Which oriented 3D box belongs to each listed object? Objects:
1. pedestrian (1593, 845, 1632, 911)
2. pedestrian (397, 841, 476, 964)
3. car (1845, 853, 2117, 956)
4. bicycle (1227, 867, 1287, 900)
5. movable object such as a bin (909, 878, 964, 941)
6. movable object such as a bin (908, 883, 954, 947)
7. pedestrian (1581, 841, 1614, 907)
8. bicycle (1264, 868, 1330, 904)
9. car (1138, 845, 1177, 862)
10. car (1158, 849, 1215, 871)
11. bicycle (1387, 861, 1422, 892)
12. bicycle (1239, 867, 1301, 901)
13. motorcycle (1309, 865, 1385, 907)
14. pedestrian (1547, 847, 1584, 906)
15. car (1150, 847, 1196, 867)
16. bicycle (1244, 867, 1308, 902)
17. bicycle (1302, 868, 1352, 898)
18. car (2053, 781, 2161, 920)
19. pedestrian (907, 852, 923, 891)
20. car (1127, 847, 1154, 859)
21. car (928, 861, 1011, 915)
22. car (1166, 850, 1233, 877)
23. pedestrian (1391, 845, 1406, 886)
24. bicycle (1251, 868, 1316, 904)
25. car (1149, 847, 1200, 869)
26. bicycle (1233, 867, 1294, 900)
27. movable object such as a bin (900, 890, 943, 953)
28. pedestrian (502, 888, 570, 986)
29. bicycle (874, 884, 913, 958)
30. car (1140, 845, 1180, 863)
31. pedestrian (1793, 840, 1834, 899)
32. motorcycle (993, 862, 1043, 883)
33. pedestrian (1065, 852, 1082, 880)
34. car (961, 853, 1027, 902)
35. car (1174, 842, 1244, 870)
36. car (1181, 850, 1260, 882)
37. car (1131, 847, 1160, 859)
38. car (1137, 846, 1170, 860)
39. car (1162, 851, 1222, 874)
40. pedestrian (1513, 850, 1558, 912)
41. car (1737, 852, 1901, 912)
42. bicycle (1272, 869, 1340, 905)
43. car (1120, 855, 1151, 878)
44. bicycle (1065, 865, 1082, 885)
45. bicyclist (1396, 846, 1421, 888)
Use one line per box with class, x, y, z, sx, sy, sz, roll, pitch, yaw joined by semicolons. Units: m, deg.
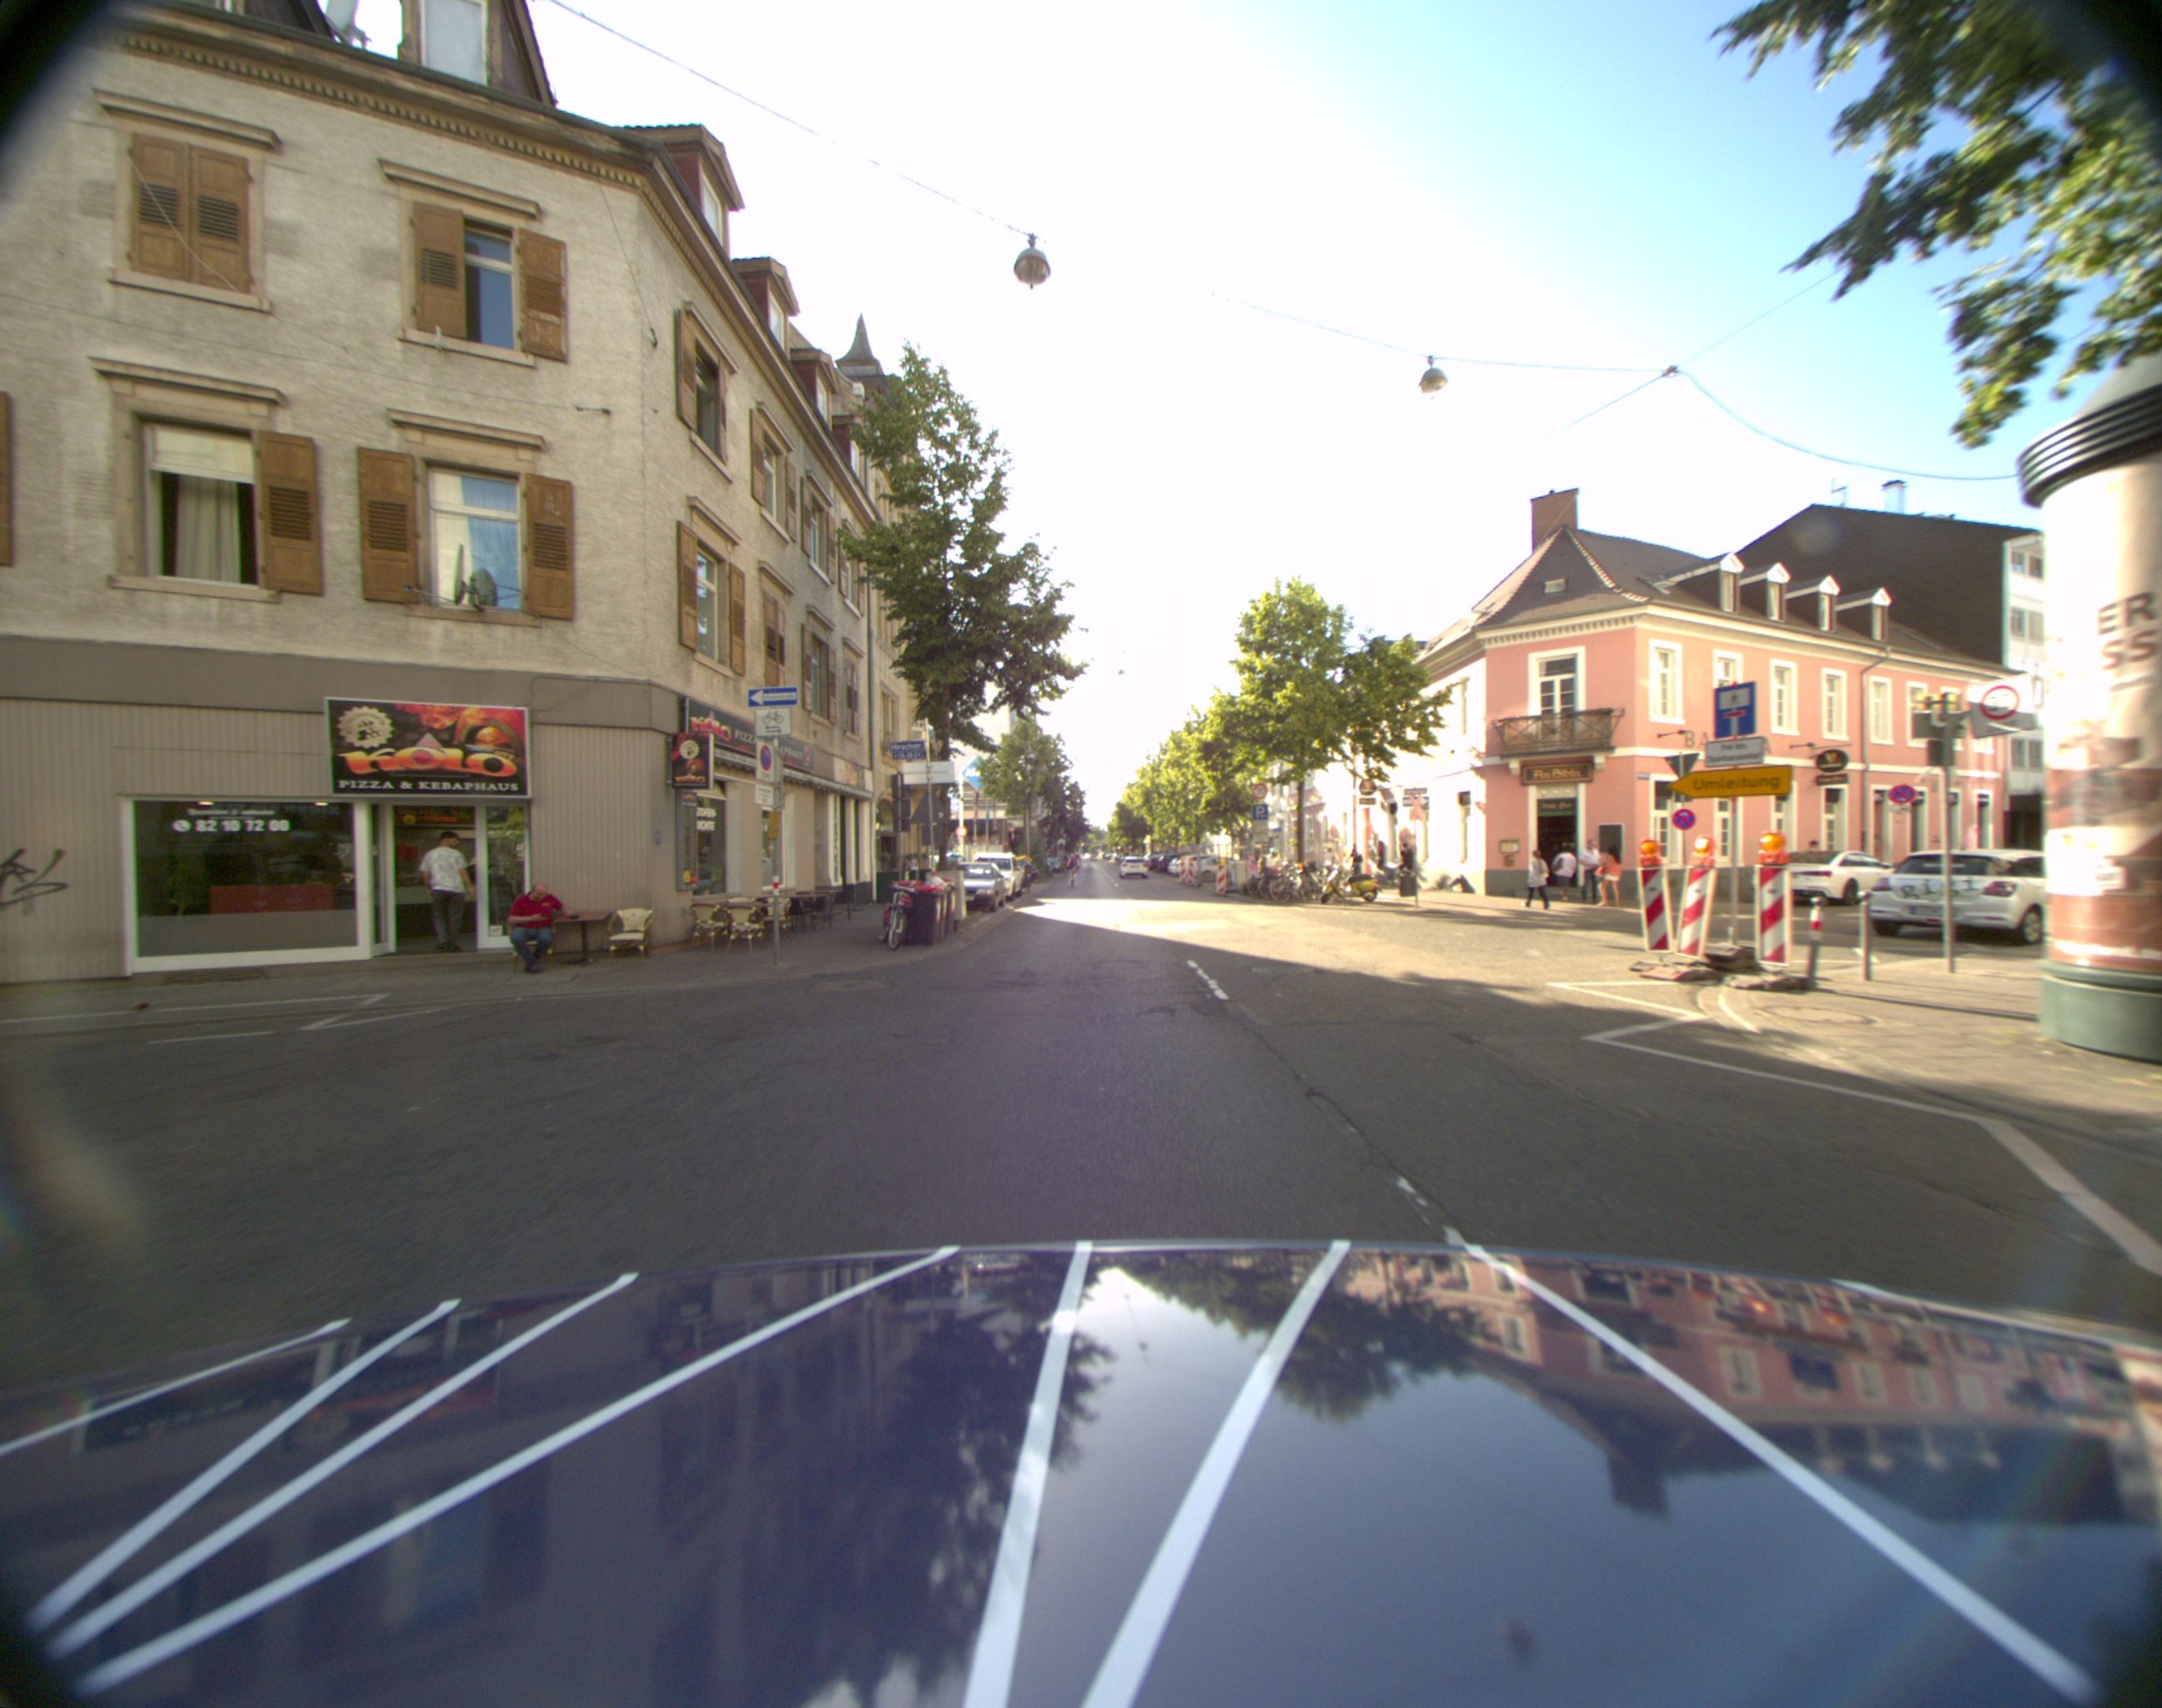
pedestrian;14.236;0.631;20.348;0.630;1.716;0.580;-1;1;-2
pedestrian;-9.338;0.670;11.039;0.801;1.687;0.705;-2;3;-38
car;15.103;0.746;12.779;3.606;1.468;1.901;-1;0;-22
bicycle;6.195;1.032;26.701;2.006;1.023;0.473;-3;1;-12
movable object such as a bin;-2.880;1.099;15.244;0.944;1.207;0.699;0;2;2
movable object such as a bin;-2.843;1.151;14.432;0.721;1.149;0.602;-1;1;3
pedestrian;14.393;0.541;21.165;0.632;1.801;0.578;-1;1;-39
bicycle;6.930;1.015;24.351;2.006;1.023;0.473;-3;1;-12
car;8.692;-0.085;86.705;4.134;1.792;1.911;-2;1;0
car;8.234;0.441;59.625;4.134;1.585;1.911;-2;1;0
bicycle;11.824;0.818;27.846;0.570;1.081;1.652;-1;-1;0
bicycle;6.396;1.008;25.707;2.006;1.023;0.473;-3;1;-12
motorcycle;7.997;0.955;22.913;2.003;1.178;0.740;-2;0;3
pedestrian;13.978;0.637;21.923;0.581;1.653;0.705;-1;1;-36
car;8.771;0.276;72.679;4.134;1.792;1.911;-2;1;0
bicycle;6.489;1.006;25.283;2.006;1.023;0.473;-3;1;-12
bicycle;8.072;0.963;24.998;1.513;0.945;0.360;-2;1;41
car;22.867;-0.109;15.580;6.515;2.566;2.220;-1;0;-25
pedestrian;-6.306;0.667;28.851;0.460;1.434;0.521;-2;1;0
car;9.330;-0.105;119.303;4.134;1.792;1.911;-2;1;0
car;-3.190;0.931;22.525;1.835;1.410;4.159;1;0;0
car;7.991;0.620;51.464;4.134;1.670;2.000;-2;1;0
pedestrian;13.232;0.469;31.677;0.517;1.716;0.525;-1;1;18
bicycle;6.607;1.033;24.793;2.006;1.023;0.473;-3;1;-12
car;7.950;0.337;64.851;4.134;1.792;1.911;-2;1;0
bicycle;6.294;1.014;26.201;2.006;1.023;0.473;-3;1;-12
movable object such as a bin;-2.874;1.201;13.730;0.634;1.062;0.602;0;3;2
pedestrian;-7.648;1.132;10.671;0.714;1.252;0.589;-2;3;-38
bicycle;-3.350;1.150;13.499;0.378;1.139;1.670;0;1;-24
car;8.515;0.031;82.287;4.134;1.792;1.911;-2;1;0
pedestrian;22.267;0.466;23.109;0.635;1.740;0.706;-1;1;-22
motorcycle;-3.538;1.031;42.434;2.656;1.071;0.962;-1;0;-14
pedestrian;-0.388;0.618;39.052;0.804;1.381;0.931;-2;0;0
car;-3.093;0.804;27.753;1.835;1.641;4.159;1;0;1
car;8.215;0.101;49.020;4.134;1.670;2.000;-2;1;0
car;7.940;0.648;43.537;4.134;1.670;2.000;-2;1;0
car;9.602;-0.156;114.092;4.134;1.792;1.911;-2;1;0
car;9.573;-0.118;99.985;4.134;1.792;1.911;-2;1;0
car;8.270;0.648;56.889;4.134;1.585;1.911;-2;1;0
pedestrian;12.035;0.707;20.142;0.650;1.592;0.863;-2;0;1
car;20.274;0.706;20.904;3.607;1.468;1.996;-1;0;-23
bicycle;7.054;1.026;23.828;2.006;1.023;0.473;-3;1;-12
car;3.624;0.809;51.006;1.835;1.410;3.833;0;0;1
bicycle;-0.382;1.062;39.091;0.805;0.958;1.996;-2;0;0
bicyclist;11.815;0.462;27.411;0.570;1.495;0.751;-1;3;0
